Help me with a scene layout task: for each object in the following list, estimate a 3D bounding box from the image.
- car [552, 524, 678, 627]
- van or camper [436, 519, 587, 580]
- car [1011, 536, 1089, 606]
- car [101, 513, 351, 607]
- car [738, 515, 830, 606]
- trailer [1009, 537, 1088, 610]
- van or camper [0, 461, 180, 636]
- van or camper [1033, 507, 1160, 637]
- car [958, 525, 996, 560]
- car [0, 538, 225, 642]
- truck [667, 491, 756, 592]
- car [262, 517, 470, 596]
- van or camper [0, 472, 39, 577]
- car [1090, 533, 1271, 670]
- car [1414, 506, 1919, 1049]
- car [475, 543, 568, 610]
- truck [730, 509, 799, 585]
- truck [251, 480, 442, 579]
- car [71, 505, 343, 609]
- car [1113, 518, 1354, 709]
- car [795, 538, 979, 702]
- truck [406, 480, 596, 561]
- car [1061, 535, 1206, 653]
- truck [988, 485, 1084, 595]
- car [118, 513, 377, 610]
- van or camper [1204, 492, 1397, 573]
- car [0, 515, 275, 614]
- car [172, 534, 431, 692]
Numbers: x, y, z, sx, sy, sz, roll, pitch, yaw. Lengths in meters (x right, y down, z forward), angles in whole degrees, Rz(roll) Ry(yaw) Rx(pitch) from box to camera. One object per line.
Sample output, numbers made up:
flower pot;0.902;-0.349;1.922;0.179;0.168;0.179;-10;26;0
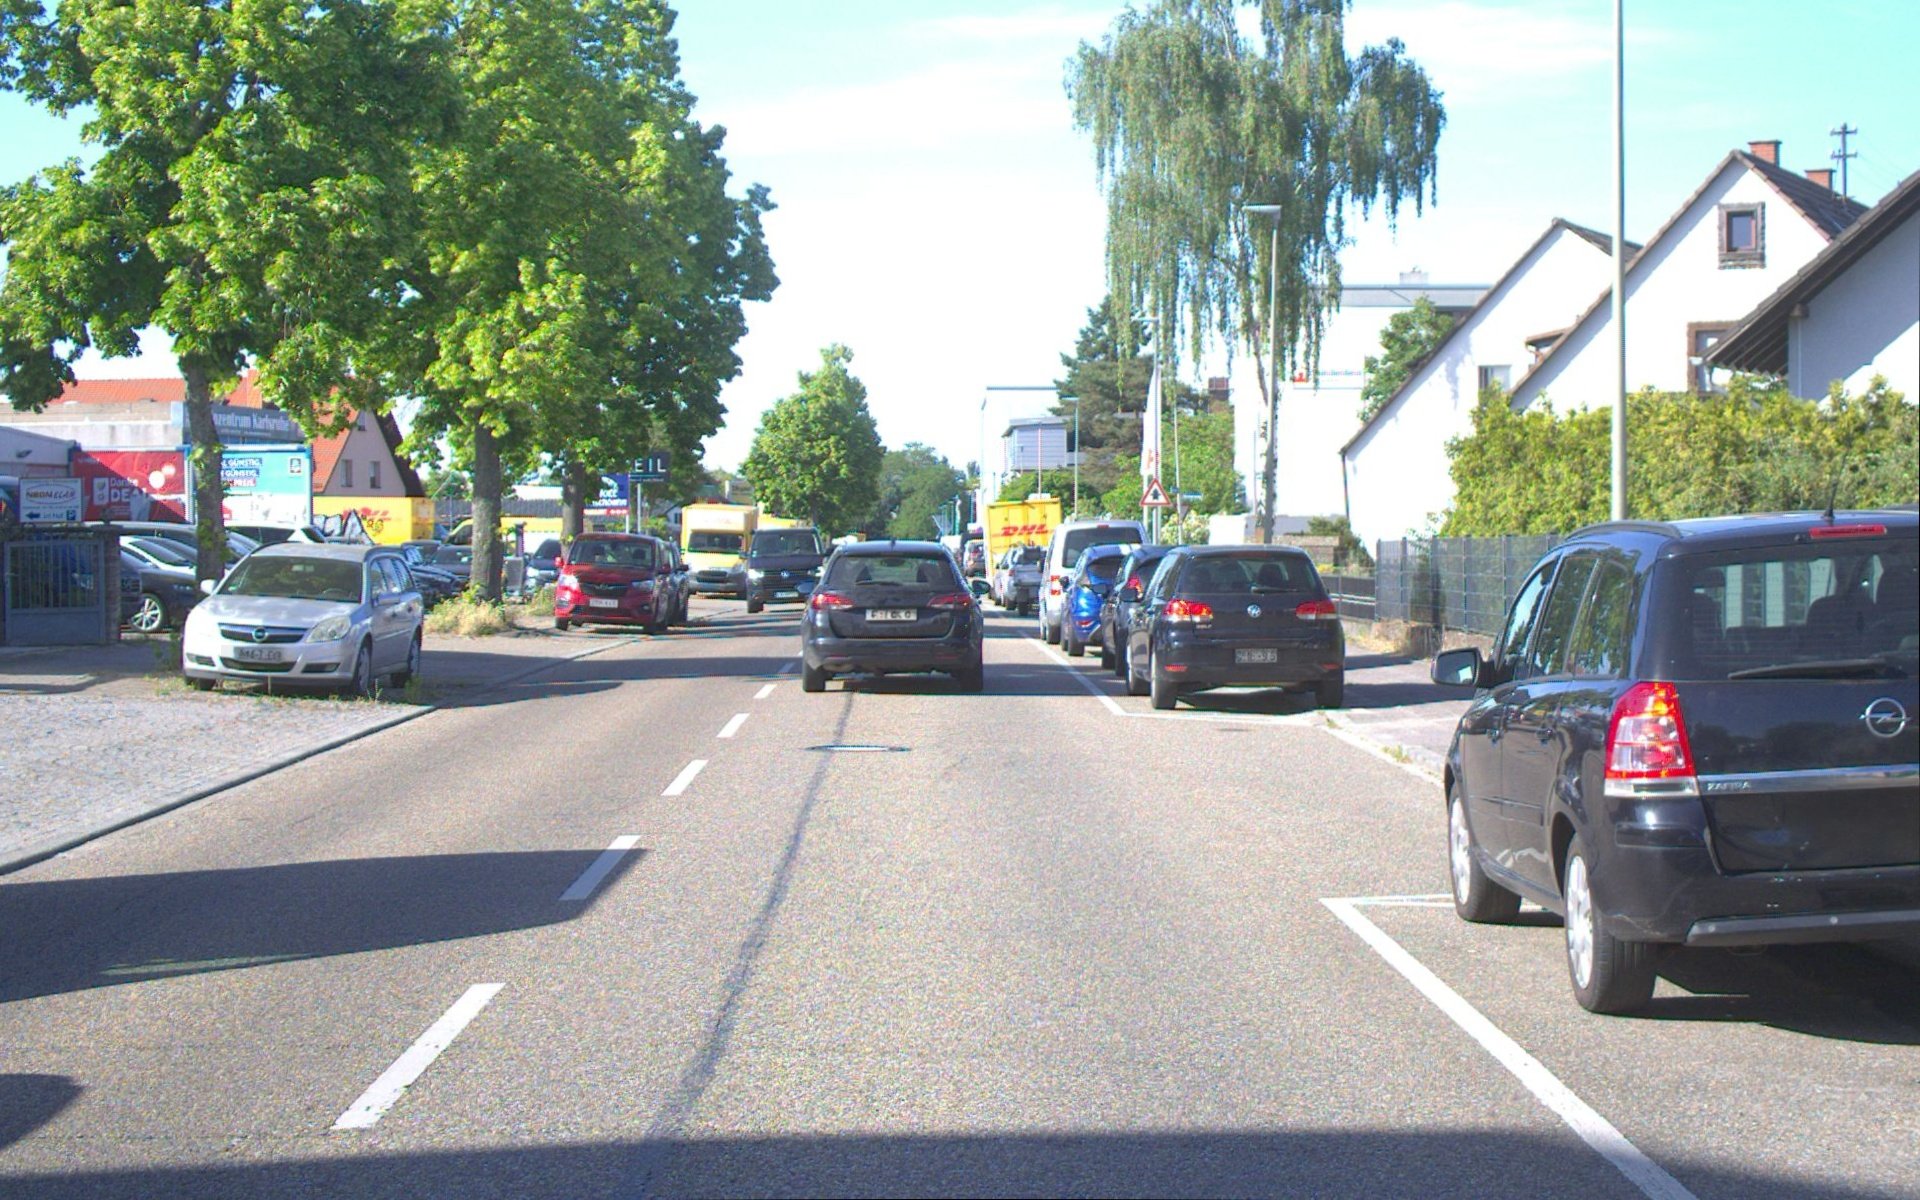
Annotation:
car;-6.200;-0.457;62.192;1.803;1.746;4.342;2;1;0
van or camper;-14.768;-1.662;113.423;4.544;2.007;2.250;0;1;6
car;2.095;-0.691;79.295;1.674;1.537;4.043;1;1;3
car;-13.798;-0.750;64.736;4.249;1.723;1.765;0;1;6
car;-4.144;-0.948;81.553;1.894;2.024;4.818;-2;1;0
trailer;1.891;-0.582;74.116;1.627;1.533;3.198;0;1;0
van or camper;-13.478;-0.718;47.191;4.895;2.312;2.242;1;0;12
van or camper;2.023;-0.440;52.062;1.719;1.884;4.180;1;1;0
car;0.869;-2.990;178.388;1.919;1.819;4.080;0;1;0
car;-13.678;-0.168;53.023;4.249;1.536;1.765;1;1;6
truck;-7.751;-1.822;107.992;2.402;2.973;7.246;2;1;-2
car;-13.202;-0.959;76.538;4.249;1.723;1.765;0;1;6
van or camper;-25.957;-1.941;87.945;2.166;2.706;6.267;0;1;10
car;2.498;-0.015;39.780;1.718;1.499;3.907;1;1;-2
car;2.835;0.505;12.684;1.776;1.653;4.303;1;1;1
car;-10.893;-0.562;85.689;1.861;1.584;4.276;0;-1;-1
truck;-8.008;-2.177;141.165;2.402;2.973;6.374;2;1;0
truck;-20.401;-2.358;114.421;5.671;3.109;2.522;2;1;11
car;-12.937;-0.740;59.212;4.249;1.746;1.765;0;1;3
car;2.479;0.083;31.979;1.775;1.653;3.817;1;1;-2
car;-0.683;0.155;34.256;1.711;1.527;3.687;0;1;1
truck;-15.521;-2.688;116.405;5.924;2.559;2.223;2;1;11
car;2.281;-0.110;45.881;1.719;1.499;3.564;1;1;0
truck;2.111;-1.694;98.265;2.402;2.926;7.016;-2;1;-1
car;-12.844;-0.695;62.130;4.249;1.723;1.765;0;1;6
van or camper;10.911;-2.144;110.127;5.812;2.532;2.290;0;1;-26
car;-13.387;-0.583;55.479;4.249;1.536;1.766;0;2;4
car;-6.616;0.087;34.971;1.687;1.430;4.209;2;1;1
